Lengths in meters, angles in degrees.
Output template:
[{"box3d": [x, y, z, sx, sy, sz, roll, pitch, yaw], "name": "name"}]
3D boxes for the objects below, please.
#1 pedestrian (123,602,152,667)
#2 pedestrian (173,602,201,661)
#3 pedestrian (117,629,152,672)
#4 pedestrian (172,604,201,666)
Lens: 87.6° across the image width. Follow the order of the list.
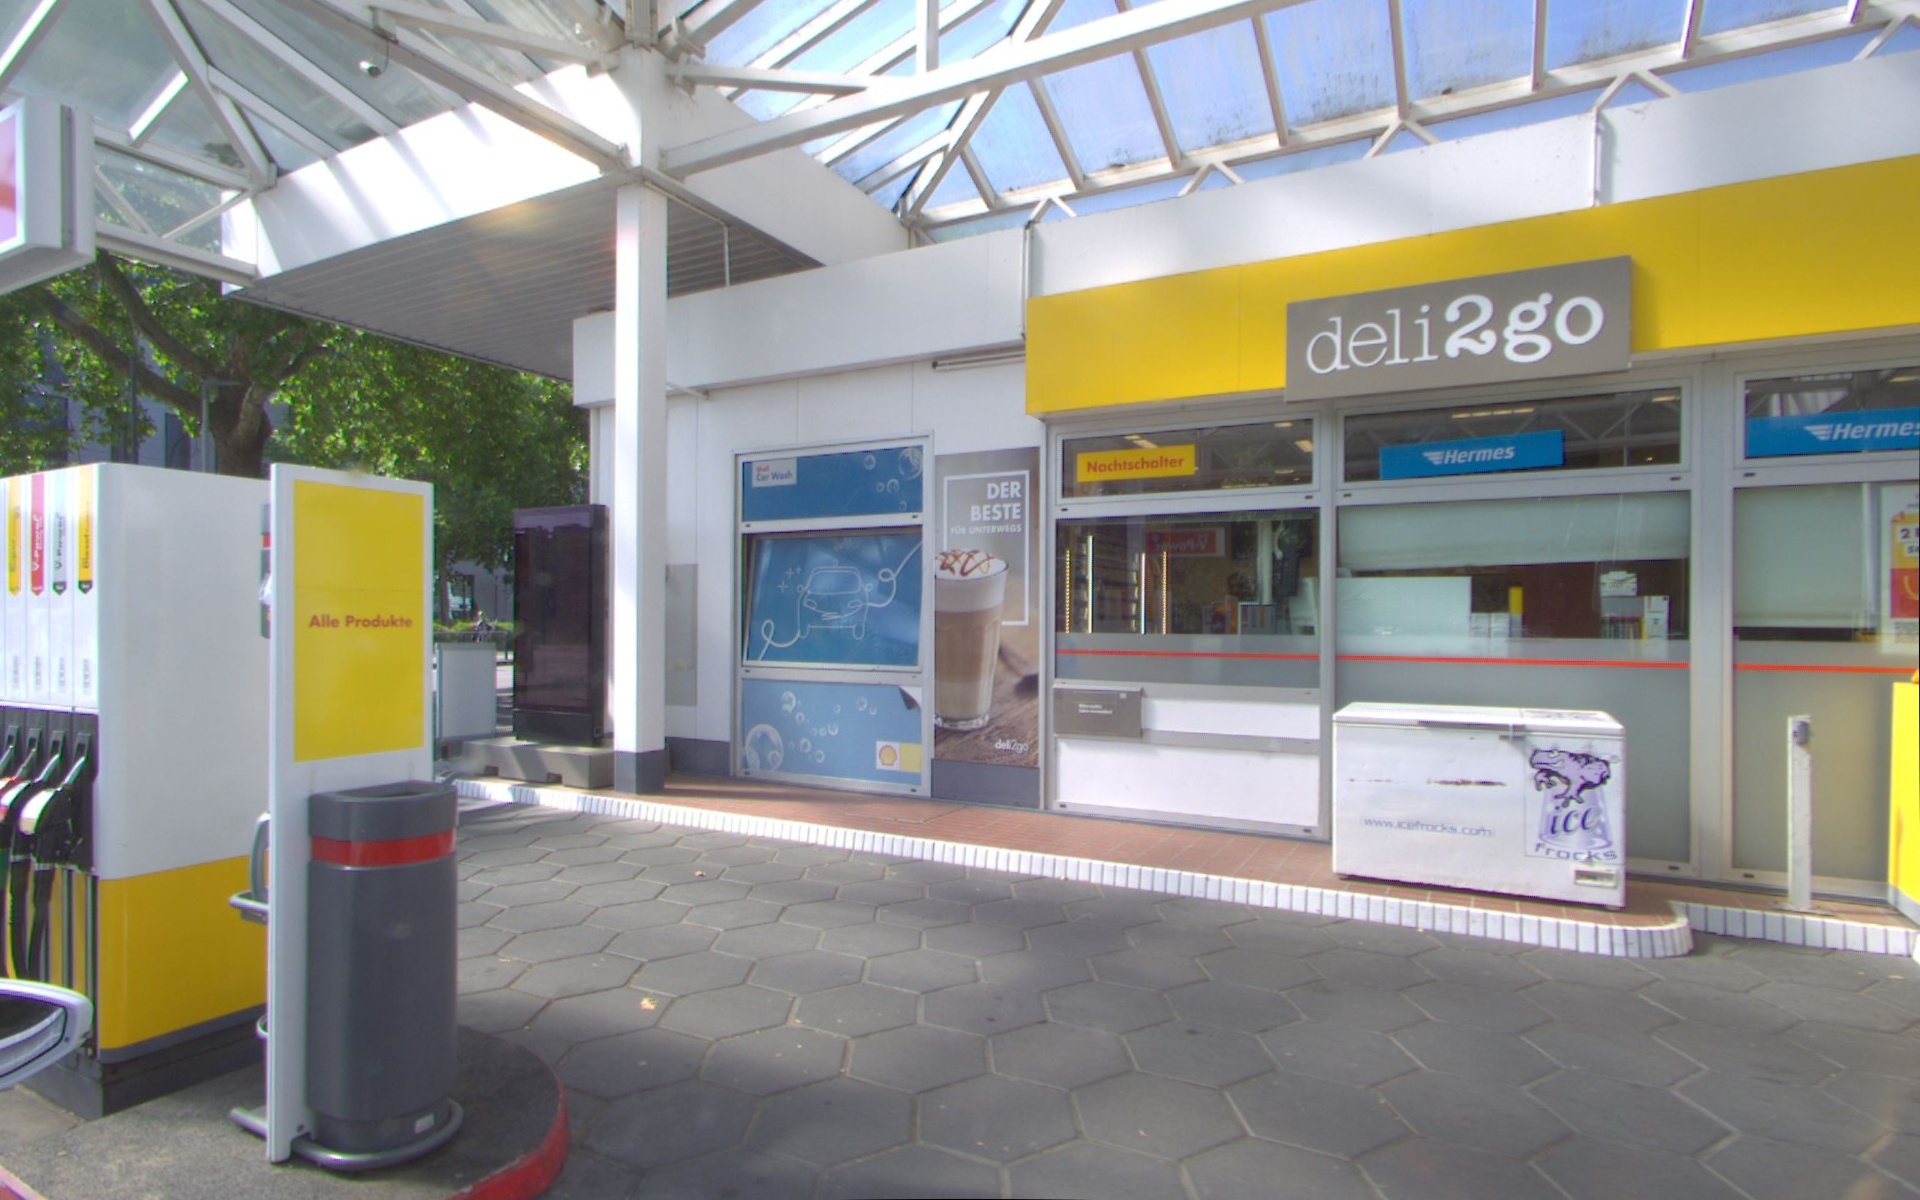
[{"box3d": [-22.598, 0.954, 27.506, 0.400, 1.758, 0.498, 0, 0, 31], "name": "pedestrian"}, {"box3d": [-22.998, 0.936, 29.792, 0.516, 1.758, 0.498, 0, 0, 32], "name": "pedestrian"}, {"box3d": [-22.666, 1.373, 27.486, 0.517, 1.152, 0.626, 0, -1, 35], "name": "pedestrian"}, {"box3d": [-22.003, 0.991, 28.475, 0.516, 1.758, 0.498, 0, 0, 32], "name": "pedestrian"}]
